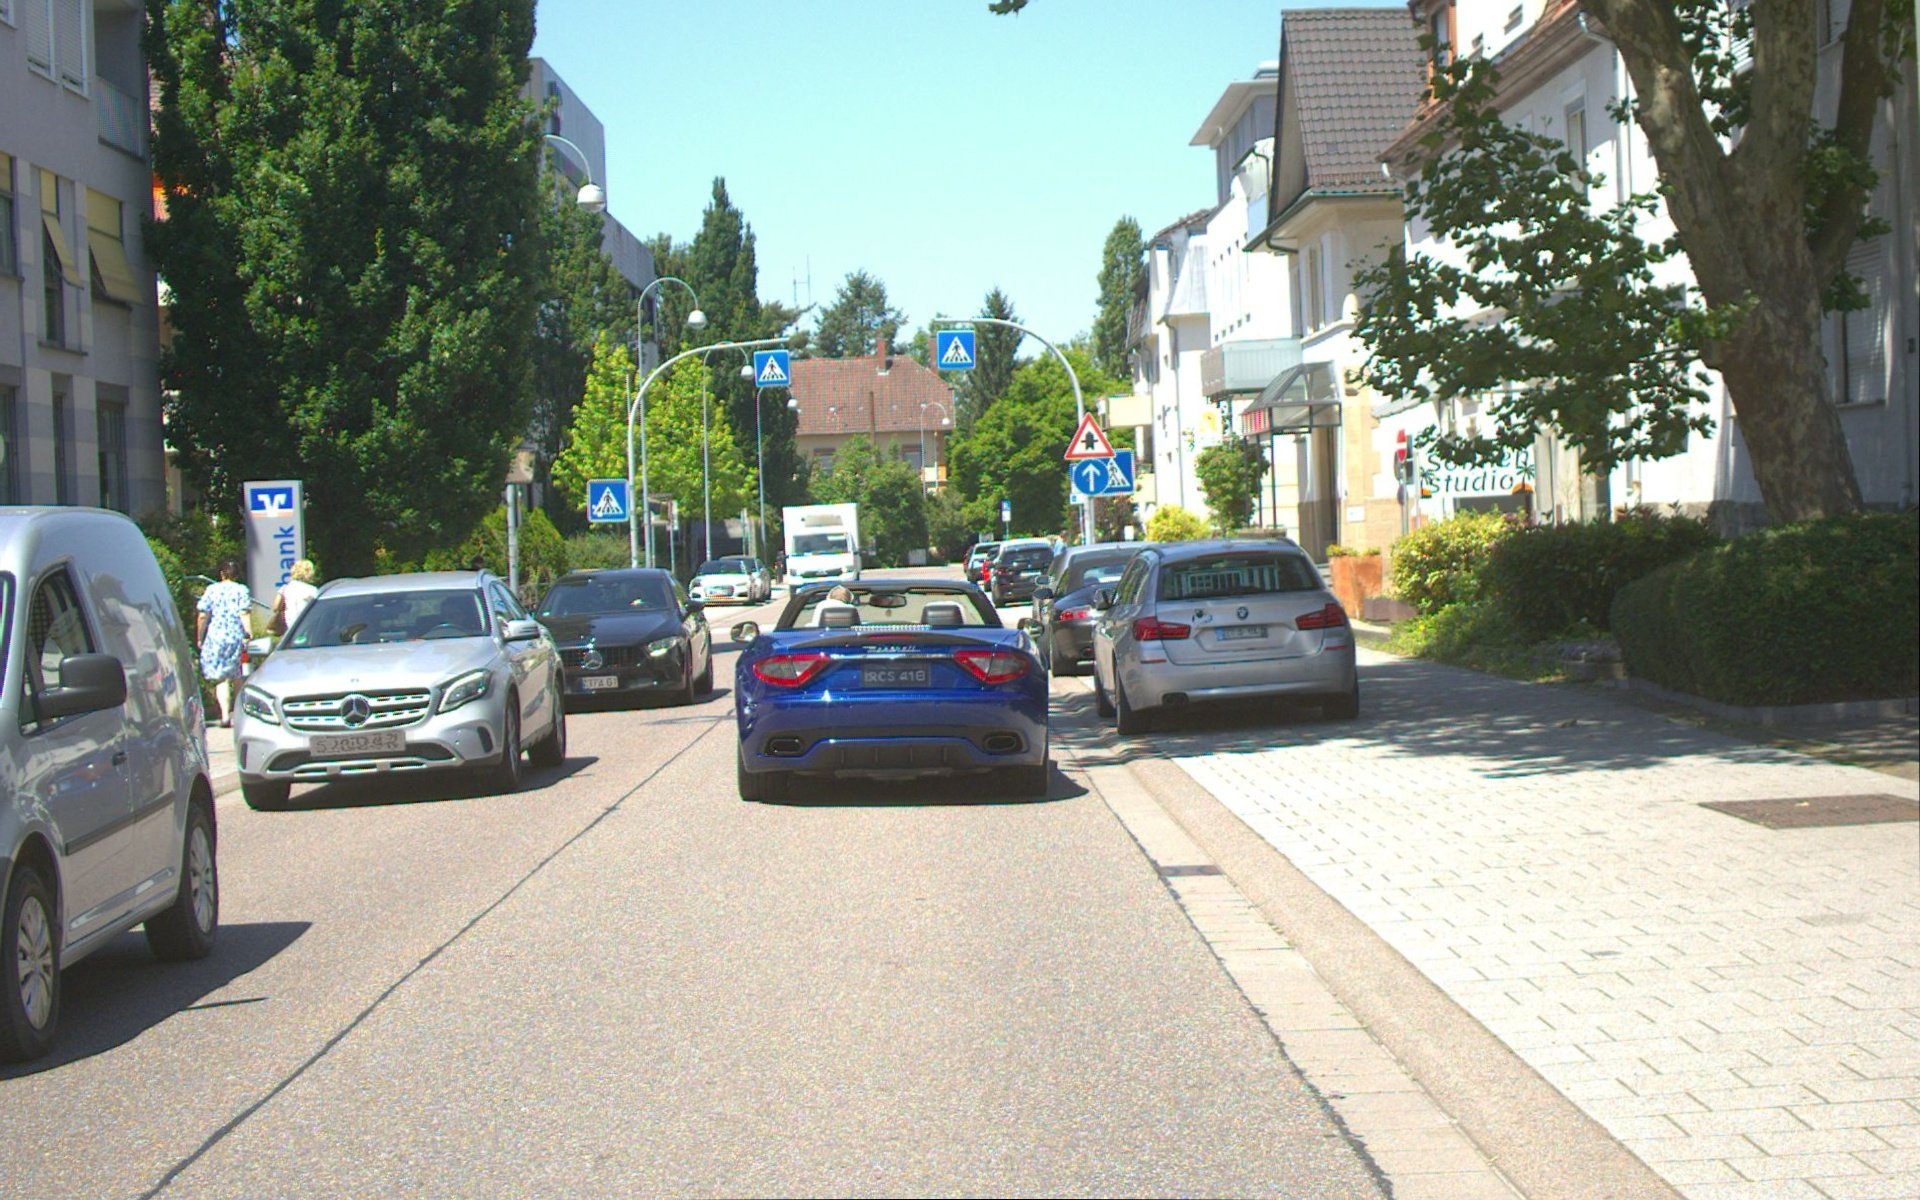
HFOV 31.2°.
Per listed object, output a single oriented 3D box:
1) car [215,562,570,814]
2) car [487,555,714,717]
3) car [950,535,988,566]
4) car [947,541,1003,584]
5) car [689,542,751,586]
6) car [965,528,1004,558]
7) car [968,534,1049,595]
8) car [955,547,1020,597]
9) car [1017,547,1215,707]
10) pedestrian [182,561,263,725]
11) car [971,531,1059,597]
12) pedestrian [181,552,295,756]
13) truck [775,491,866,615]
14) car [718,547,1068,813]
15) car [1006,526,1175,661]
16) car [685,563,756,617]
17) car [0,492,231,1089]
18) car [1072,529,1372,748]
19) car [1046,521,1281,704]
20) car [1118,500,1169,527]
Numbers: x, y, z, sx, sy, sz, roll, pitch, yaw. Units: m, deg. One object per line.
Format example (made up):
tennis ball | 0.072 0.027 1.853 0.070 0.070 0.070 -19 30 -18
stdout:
car | -3.855 0.539 24.012 1.769 1.471 4.138 -4 1 -1
car | -3.728 0.333 36.311 1.950 1.471 4.138 -4 1 -1
car | 0.440 -2.483 173.127 1.769 1.471 4.137 -2 0 -1
car | 0.540 -1.436 129.669 1.950 1.471 4.138 -4 1 -1
car | -8.865 -1.359 127.375 1.950 1.471 4.138 -4 1 0
car | 1.306 -3.016 182.600 1.950 1.471 4.137 -4 1 1
car | 1.273 -0.956 91.595 1.950 1.471 4.138 -4 1 -1
car | 0.884 -0.934 112.960 1.950 1.471 4.138 -4 1 -1
car | 1.754 0.268 40.003 1.976 1.551 4.349 -4 2 0
pedestrian | -7.247 0.410 33.798 0.587 1.569 0.781 -2 1 -1
car | 1.329 -0.907 84.695 1.950 1.471 4.138 -4 1 -1
pedestrian | -7.088 0.519 33.788 0.849 1.909 0.761 -4 3 -2
truck | -4.237 -1.429 104.178 2.420 3.470 7.004 -4 1 -2
car | -0.399 0.424 22.064 1.976 1.393 4.627 -2 2 0
car | 1.697 -0.135 46.171 1.976 1.551 4.349 -4 2 0
car | -7.295 -0.326 105.088 1.950 1.471 4.138 -4 1 -2
car | -3.816 0.571 11.777 1.769 1.761 4.138 -4 2 -2
car | 2.020 0.243 27.753 1.976 1.445 4.349 -4 2 0
car | 1.978 0.070 34.643 1.976 1.551 4.349 -4 2 0
car | 11.432 -5.379 213.838 1.952 1.471 4.134 -3 1 20
